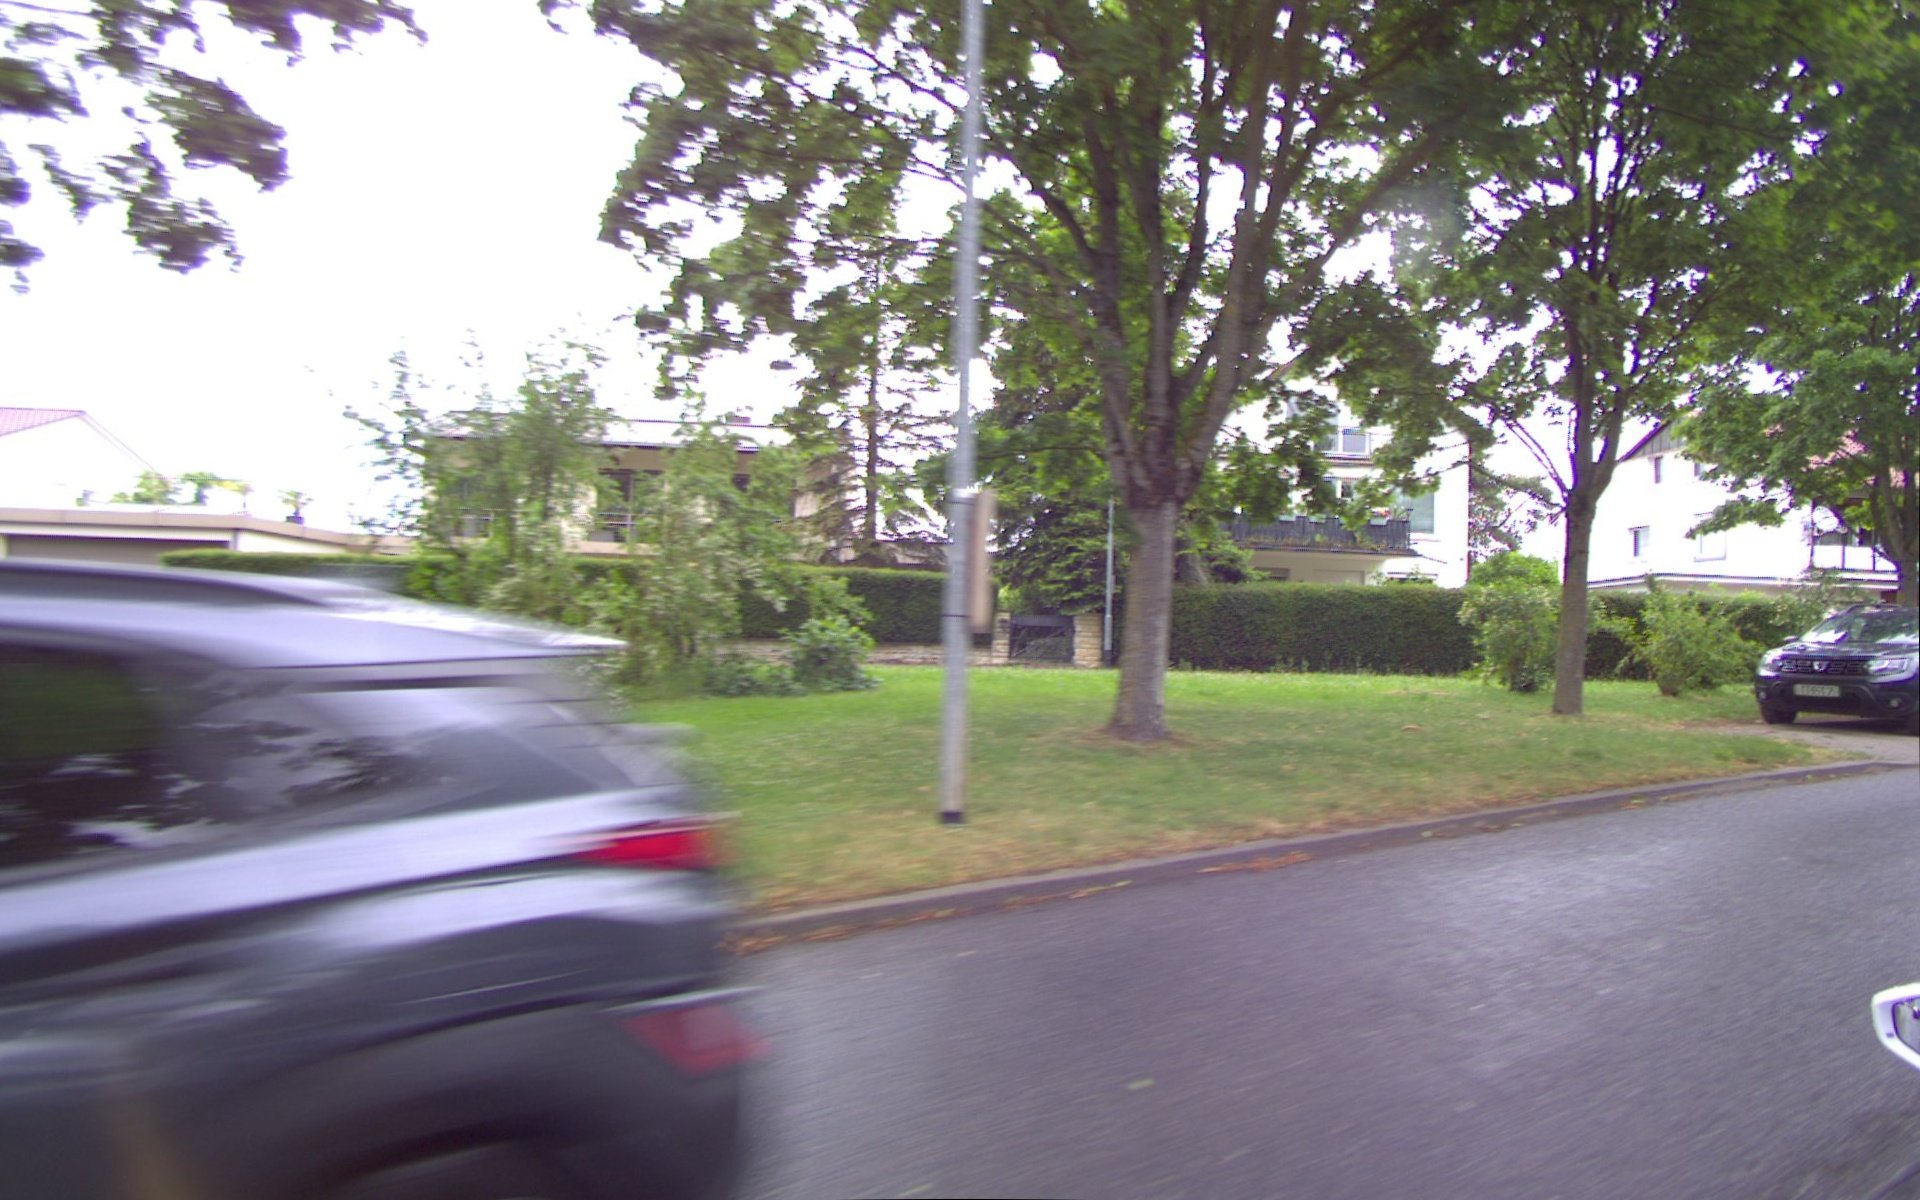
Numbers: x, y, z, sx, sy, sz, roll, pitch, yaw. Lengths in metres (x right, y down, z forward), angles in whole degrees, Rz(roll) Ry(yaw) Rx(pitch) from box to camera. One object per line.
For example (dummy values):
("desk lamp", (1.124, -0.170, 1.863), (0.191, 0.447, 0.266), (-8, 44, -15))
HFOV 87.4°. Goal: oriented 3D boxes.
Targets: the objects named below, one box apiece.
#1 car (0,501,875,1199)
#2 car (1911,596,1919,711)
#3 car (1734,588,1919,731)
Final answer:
("car", (-2.340, 0.646, 1.554), (4.045, 1.558, 1.780), (1, 0, -31))
("car", (17.500, 0.914, 15.866), (4.305, 1.819, 1.796), (1, 0, -19))
("car", (12.796, 0.778, 13.709), (4.534, 1.662, 1.743), (2, 1, -27))
